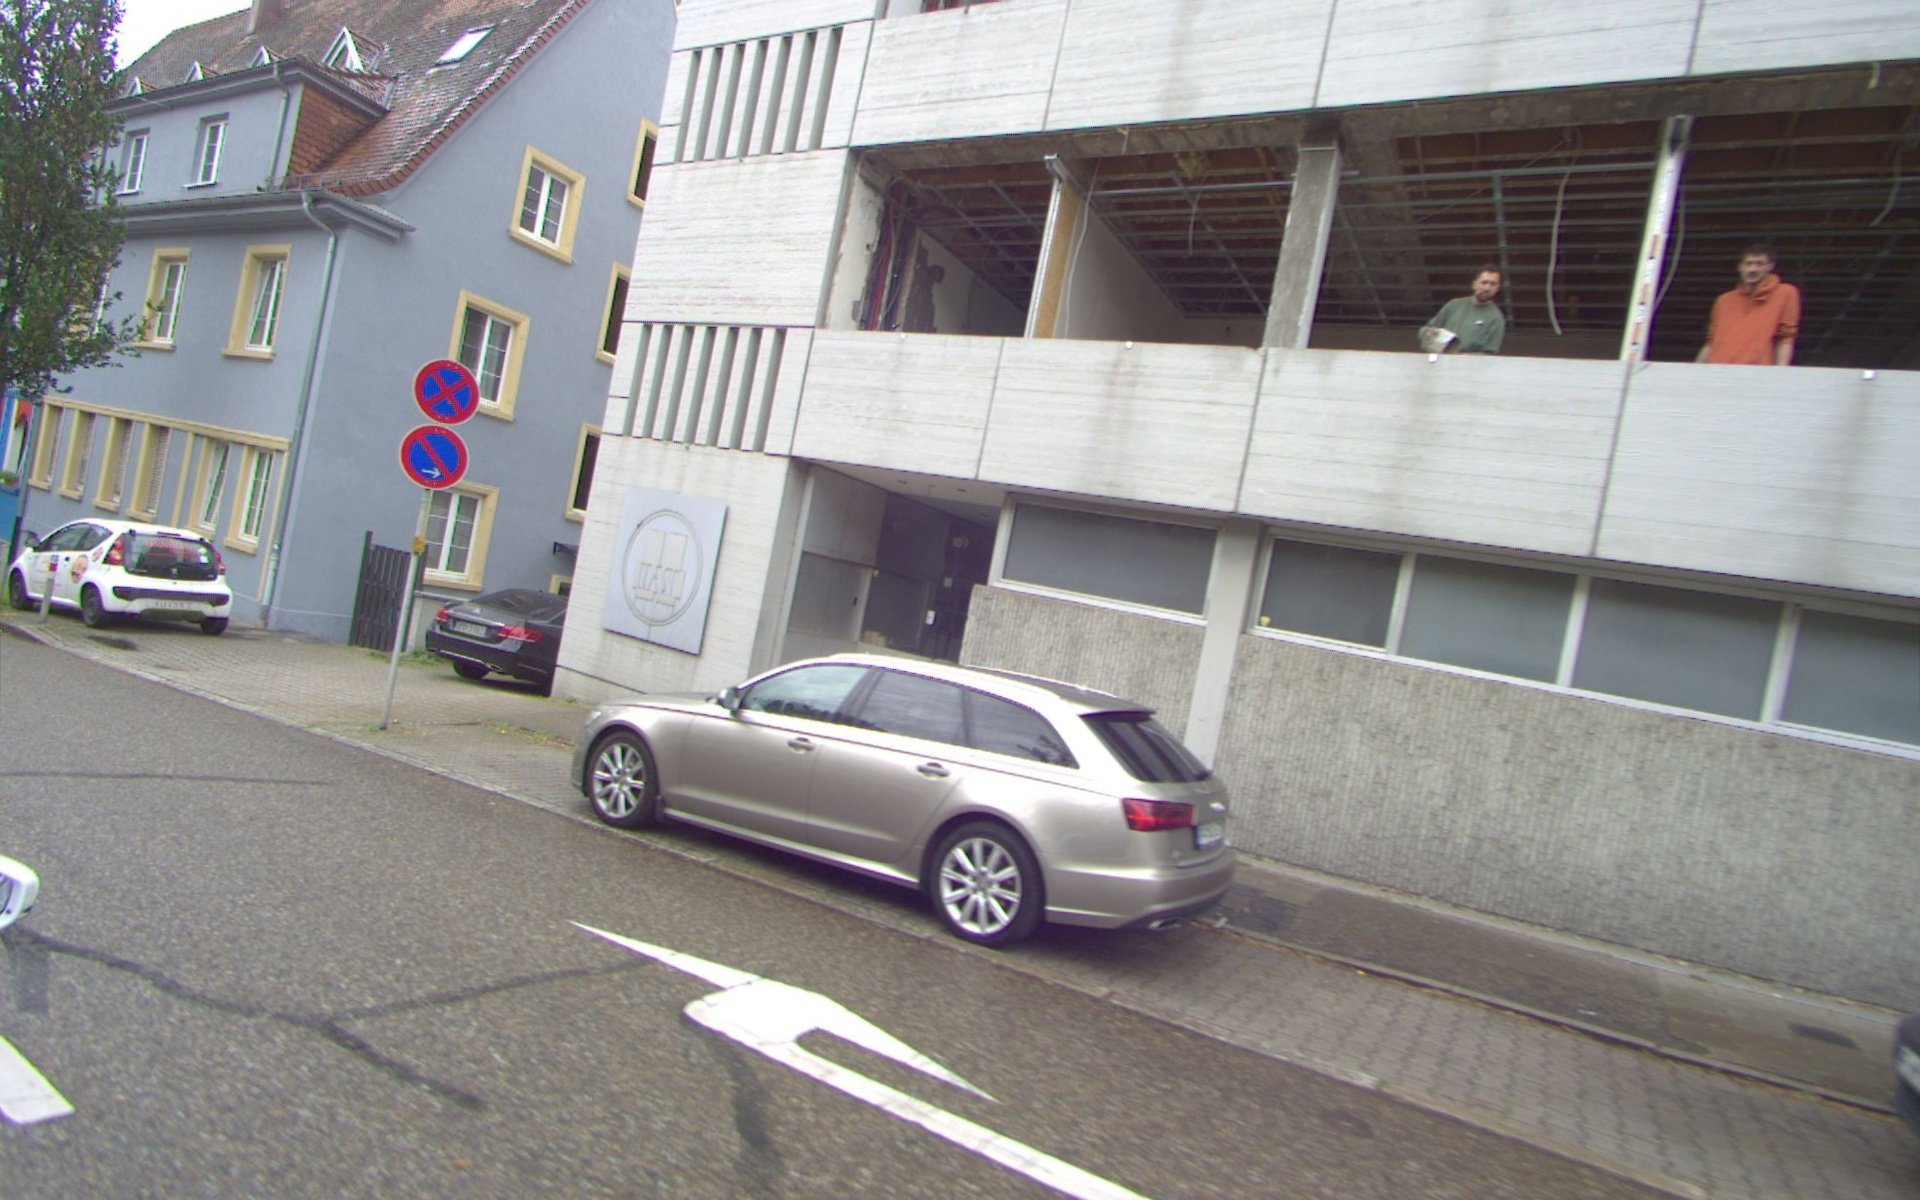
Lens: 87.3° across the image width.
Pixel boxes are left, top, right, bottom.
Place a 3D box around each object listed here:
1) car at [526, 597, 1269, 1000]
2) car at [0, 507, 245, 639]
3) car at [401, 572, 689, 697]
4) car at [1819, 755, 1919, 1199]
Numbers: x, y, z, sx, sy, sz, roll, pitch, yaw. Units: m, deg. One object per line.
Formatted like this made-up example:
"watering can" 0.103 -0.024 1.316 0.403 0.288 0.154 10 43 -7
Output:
"car" -0.546 1.068 6.832 4.660 1.475 1.820 7 -3 29
"car" -12.307 -0.404 14.669 3.396 1.428 1.590 7 -1 28
"car" -6.134 0.631 15.537 1.774 1.422 4.376 8 -3 13
"car" 5.592 1.694 2.955 4.272 1.693 1.750 7 -3 31
